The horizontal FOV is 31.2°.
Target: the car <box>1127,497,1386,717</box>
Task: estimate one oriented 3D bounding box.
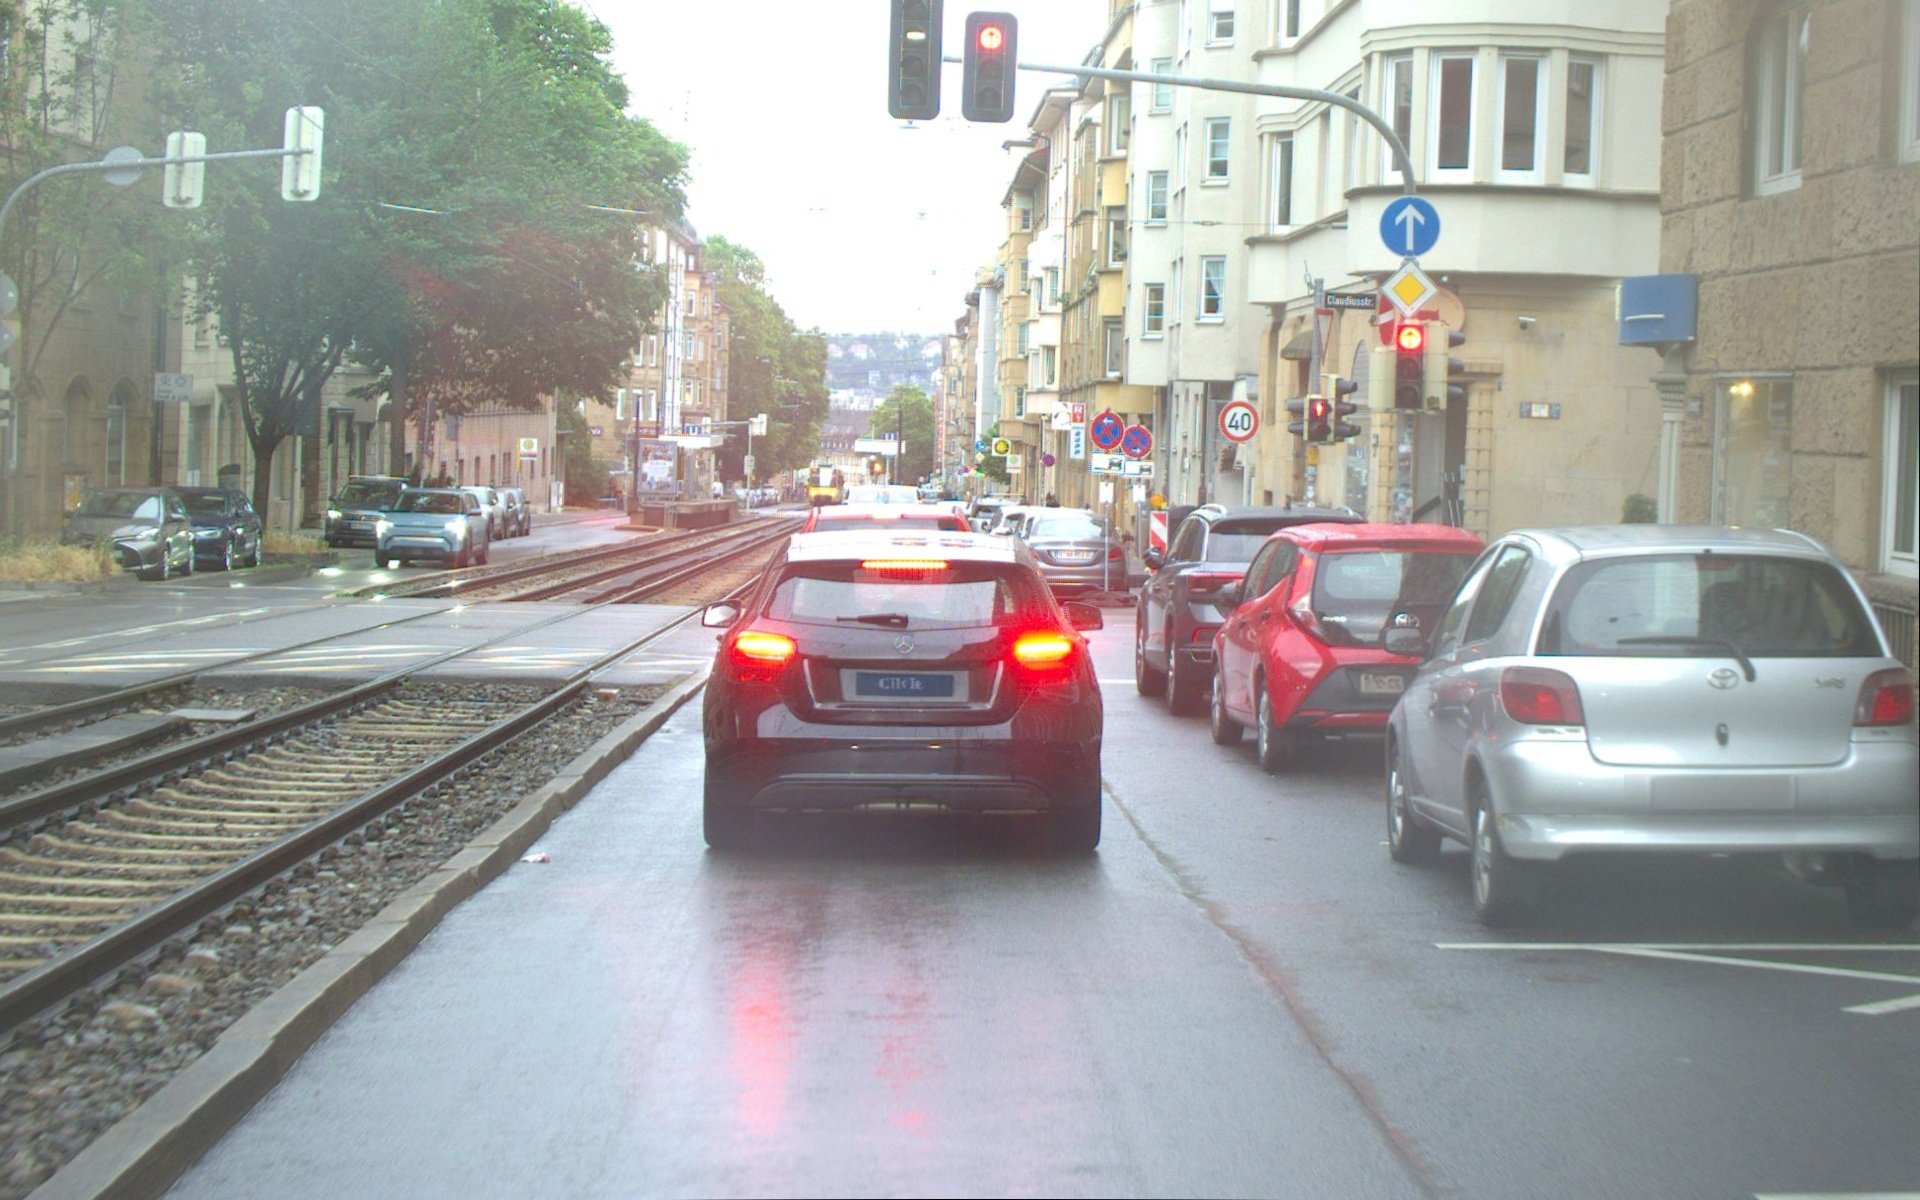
[{"bbox_3d":[2.217,-0.002,26.583,1.549,1.503,4.000,3,1,-1],"label":"car"}]

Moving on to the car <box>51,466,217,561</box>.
[{"bbox_3d":[-13.499,-1.404,56.383,1.771,1.459,4.000,1,1,-1],"label":"car"}]

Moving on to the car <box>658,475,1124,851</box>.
[{"bbox_3d":[-0.358,0.241,16.410,1.946,1.559,3.643,1,1,-2],"label":"car"}]

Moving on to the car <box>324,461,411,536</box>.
[{"bbox_3d":[-14.191,-2.433,82.522,1.789,1.685,4.001,2,1,-7],"label":"car"}]

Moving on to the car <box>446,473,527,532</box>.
[{"bbox_3d":[-14.842,-3.062,107.942,1.932,1.722,4.186,2,2,-1],"label":"car"}]

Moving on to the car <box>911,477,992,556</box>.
[{"bbox_3d":[-0.217,-1.958,81.645,1.852,1.791,3.812,1,0,-1],"label":"car"}]

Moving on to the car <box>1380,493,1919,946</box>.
[{"bbox_3d":[2.774,0.382,13.845,1.638,1.537,3.466,2,1,-1],"label":"car"}]

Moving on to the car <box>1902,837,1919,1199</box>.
[{"bbox_3d":[2.765,0.612,4.508,1.710,1.623,4.001,2,2,-3],"label":"car"}]

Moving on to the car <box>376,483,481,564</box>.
[{"bbox_3d":[-10.764,-1.560,69.855,1.795,1.543,4.001,1,1,-5],"label":"car"}]

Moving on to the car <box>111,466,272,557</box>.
[{"bbox_3d":[-13.743,-1.597,61.701,1.993,1.512,4.000,2,2,-1],"label":"car"}]

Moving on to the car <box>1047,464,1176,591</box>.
[{"bbox_3d":[2.508,-1.188,57.904,1.898,2.021,4.176,1,0,-1],"label":"car"}]

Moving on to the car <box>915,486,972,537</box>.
[{"bbox_3d":[-0.593,-3.115,120.954,1.909,1.700,4.000,2,2,-1],"label":"car"}]

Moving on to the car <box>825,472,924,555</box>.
[{"bbox_3d":[-1.798,-1.865,73.347,1.921,1.649,4.000,2,2,1],"label":"car"}]

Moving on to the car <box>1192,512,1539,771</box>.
[{"bbox_3d":[2.426,0.198,21.238,1.602,1.414,3.149,2,2,-2],"label":"car"}]

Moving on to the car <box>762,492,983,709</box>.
[{"bbox_3d":[-0.655,-0.051,26.843,1.536,1.505,4.000,2,2,-1],"label":"car"}]

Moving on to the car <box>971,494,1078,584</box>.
[{"bbox_3d":[1.291,-1.238,70.577,1.768,1.769,4.001,1,0,-5],"label":"car"}]
